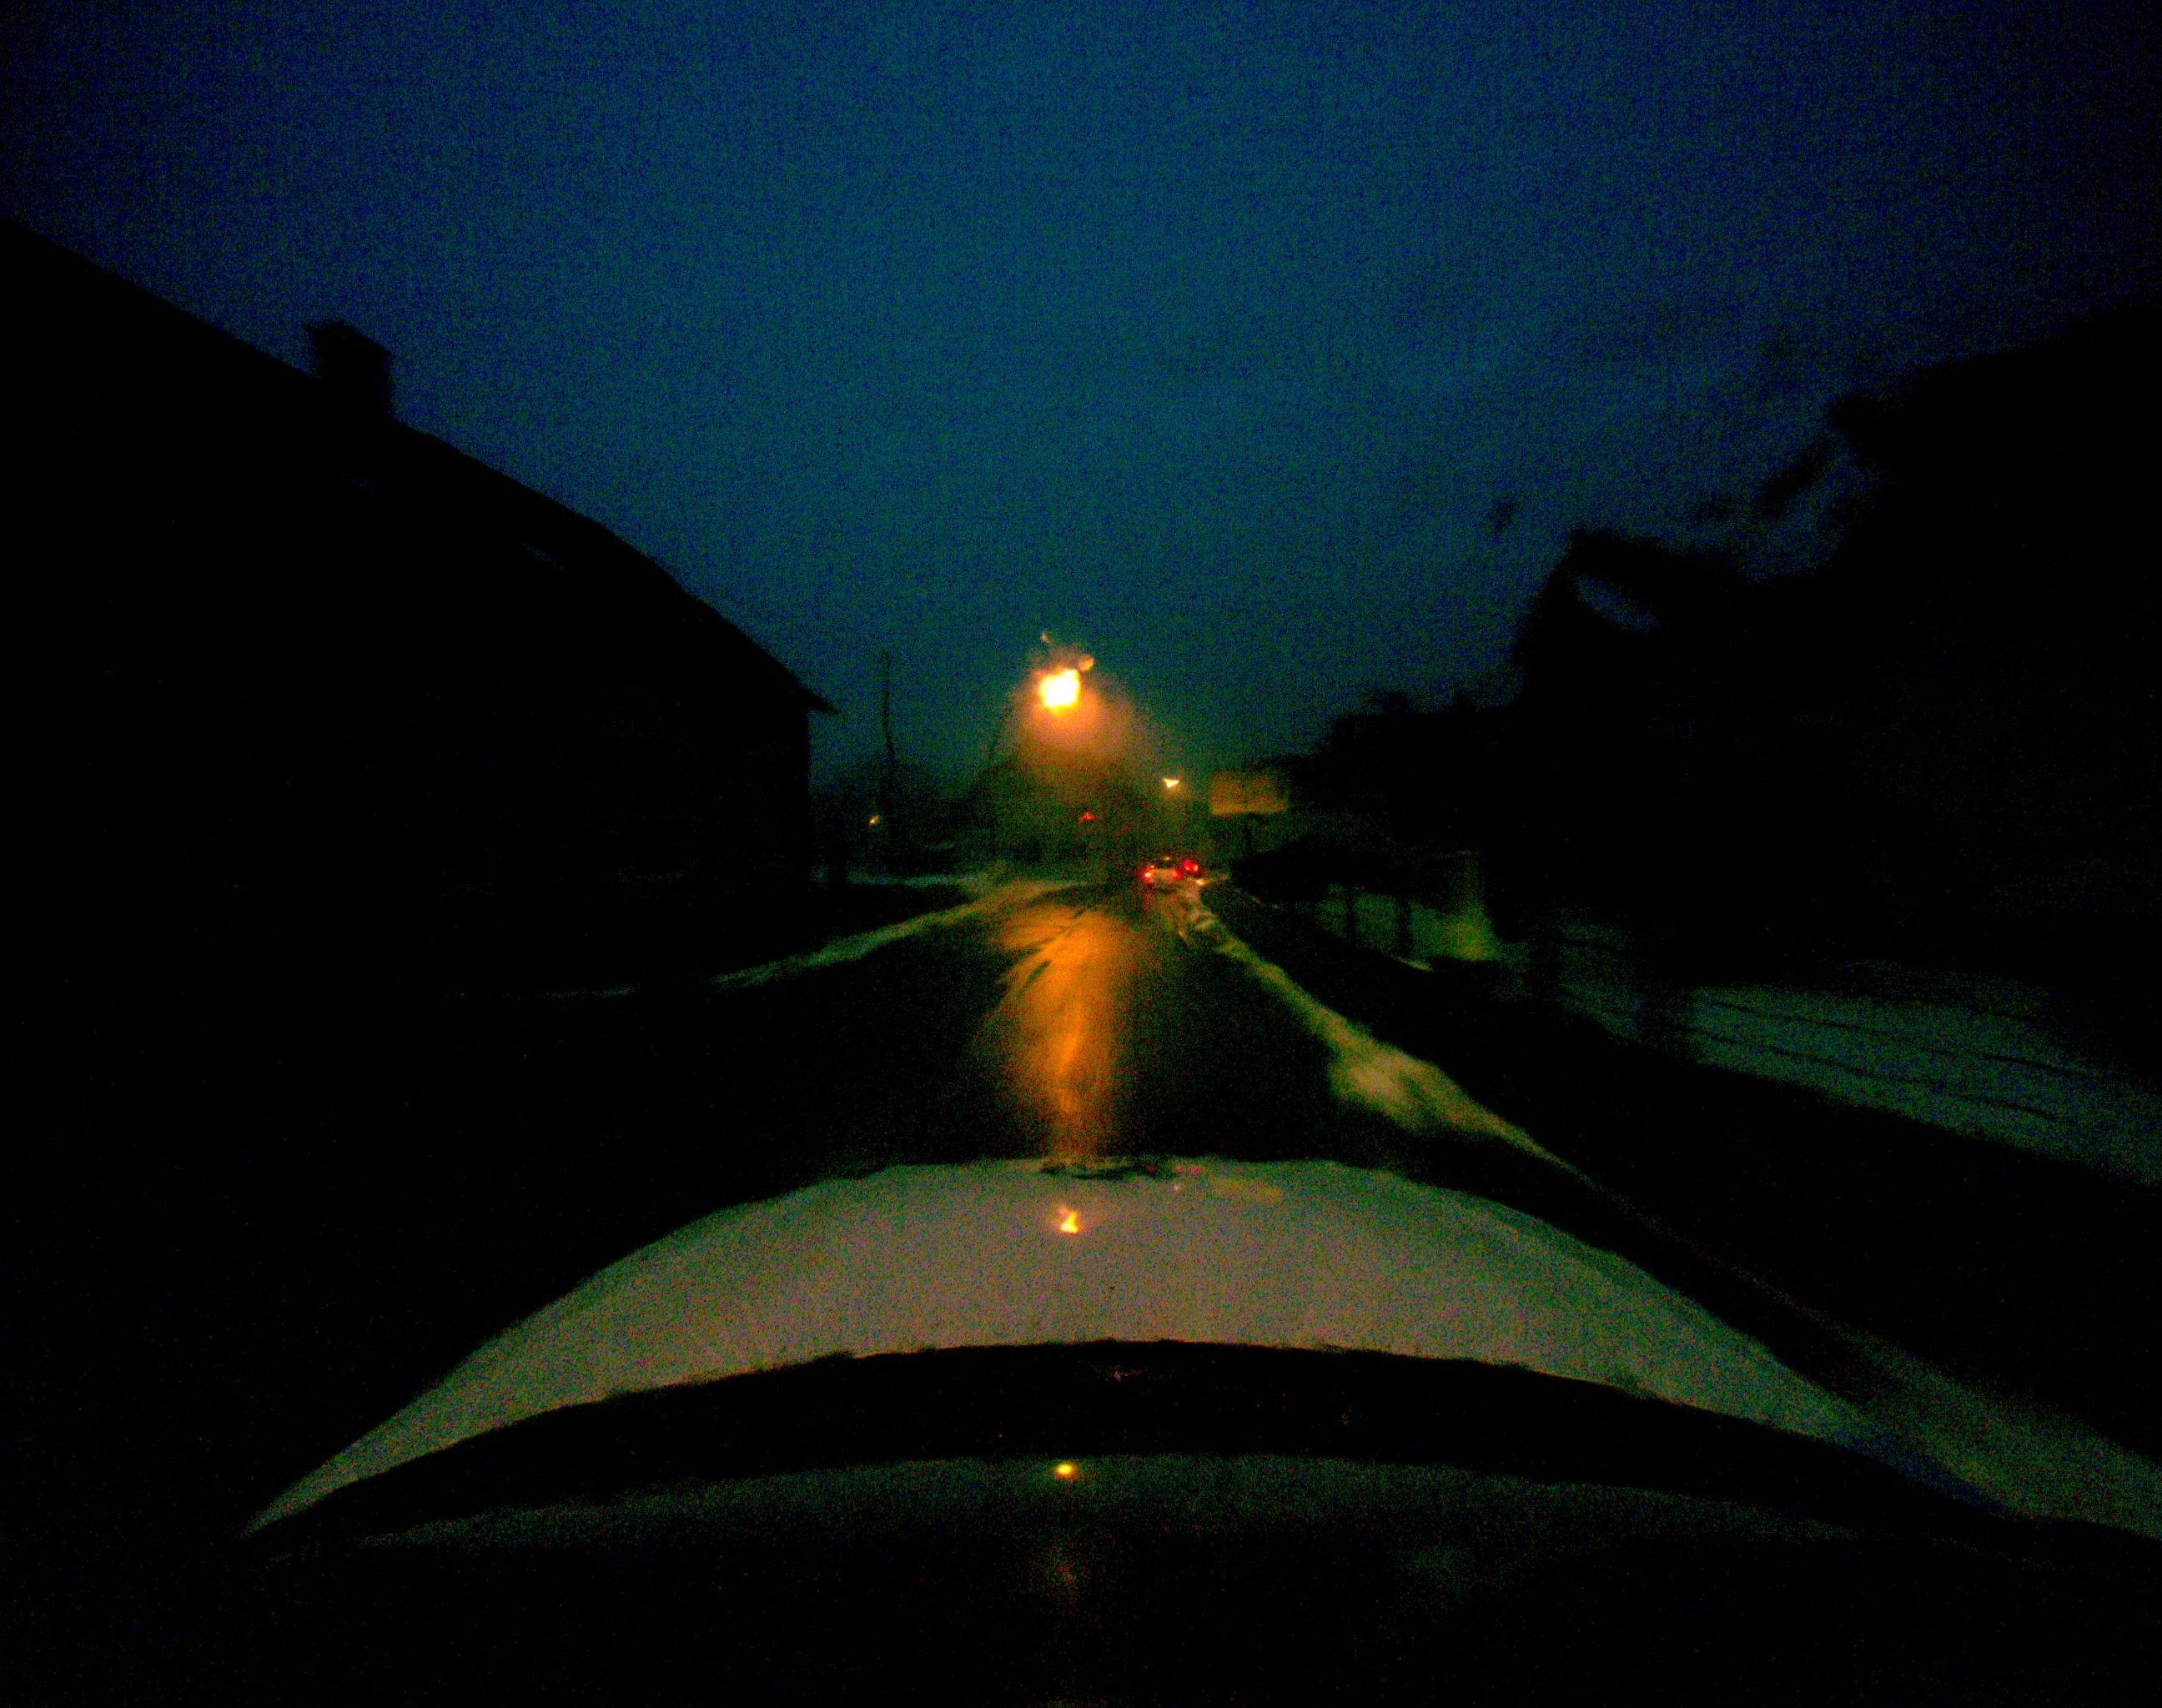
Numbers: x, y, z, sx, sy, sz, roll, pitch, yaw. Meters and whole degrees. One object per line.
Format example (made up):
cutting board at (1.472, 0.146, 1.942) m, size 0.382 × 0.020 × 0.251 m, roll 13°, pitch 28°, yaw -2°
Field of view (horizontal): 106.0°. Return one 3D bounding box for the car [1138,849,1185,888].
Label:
car at (3.823, 0.621, 38.283) m, size 1.983 × 1.507 × 4.008 m, roll -4°, pitch 1°, yaw 7°

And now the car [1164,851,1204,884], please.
car at (6.971, 0.878, 54.811) m, size 1.979 × 1.837 × 4.017 m, roll -4°, pitch 1°, yaw 15°
